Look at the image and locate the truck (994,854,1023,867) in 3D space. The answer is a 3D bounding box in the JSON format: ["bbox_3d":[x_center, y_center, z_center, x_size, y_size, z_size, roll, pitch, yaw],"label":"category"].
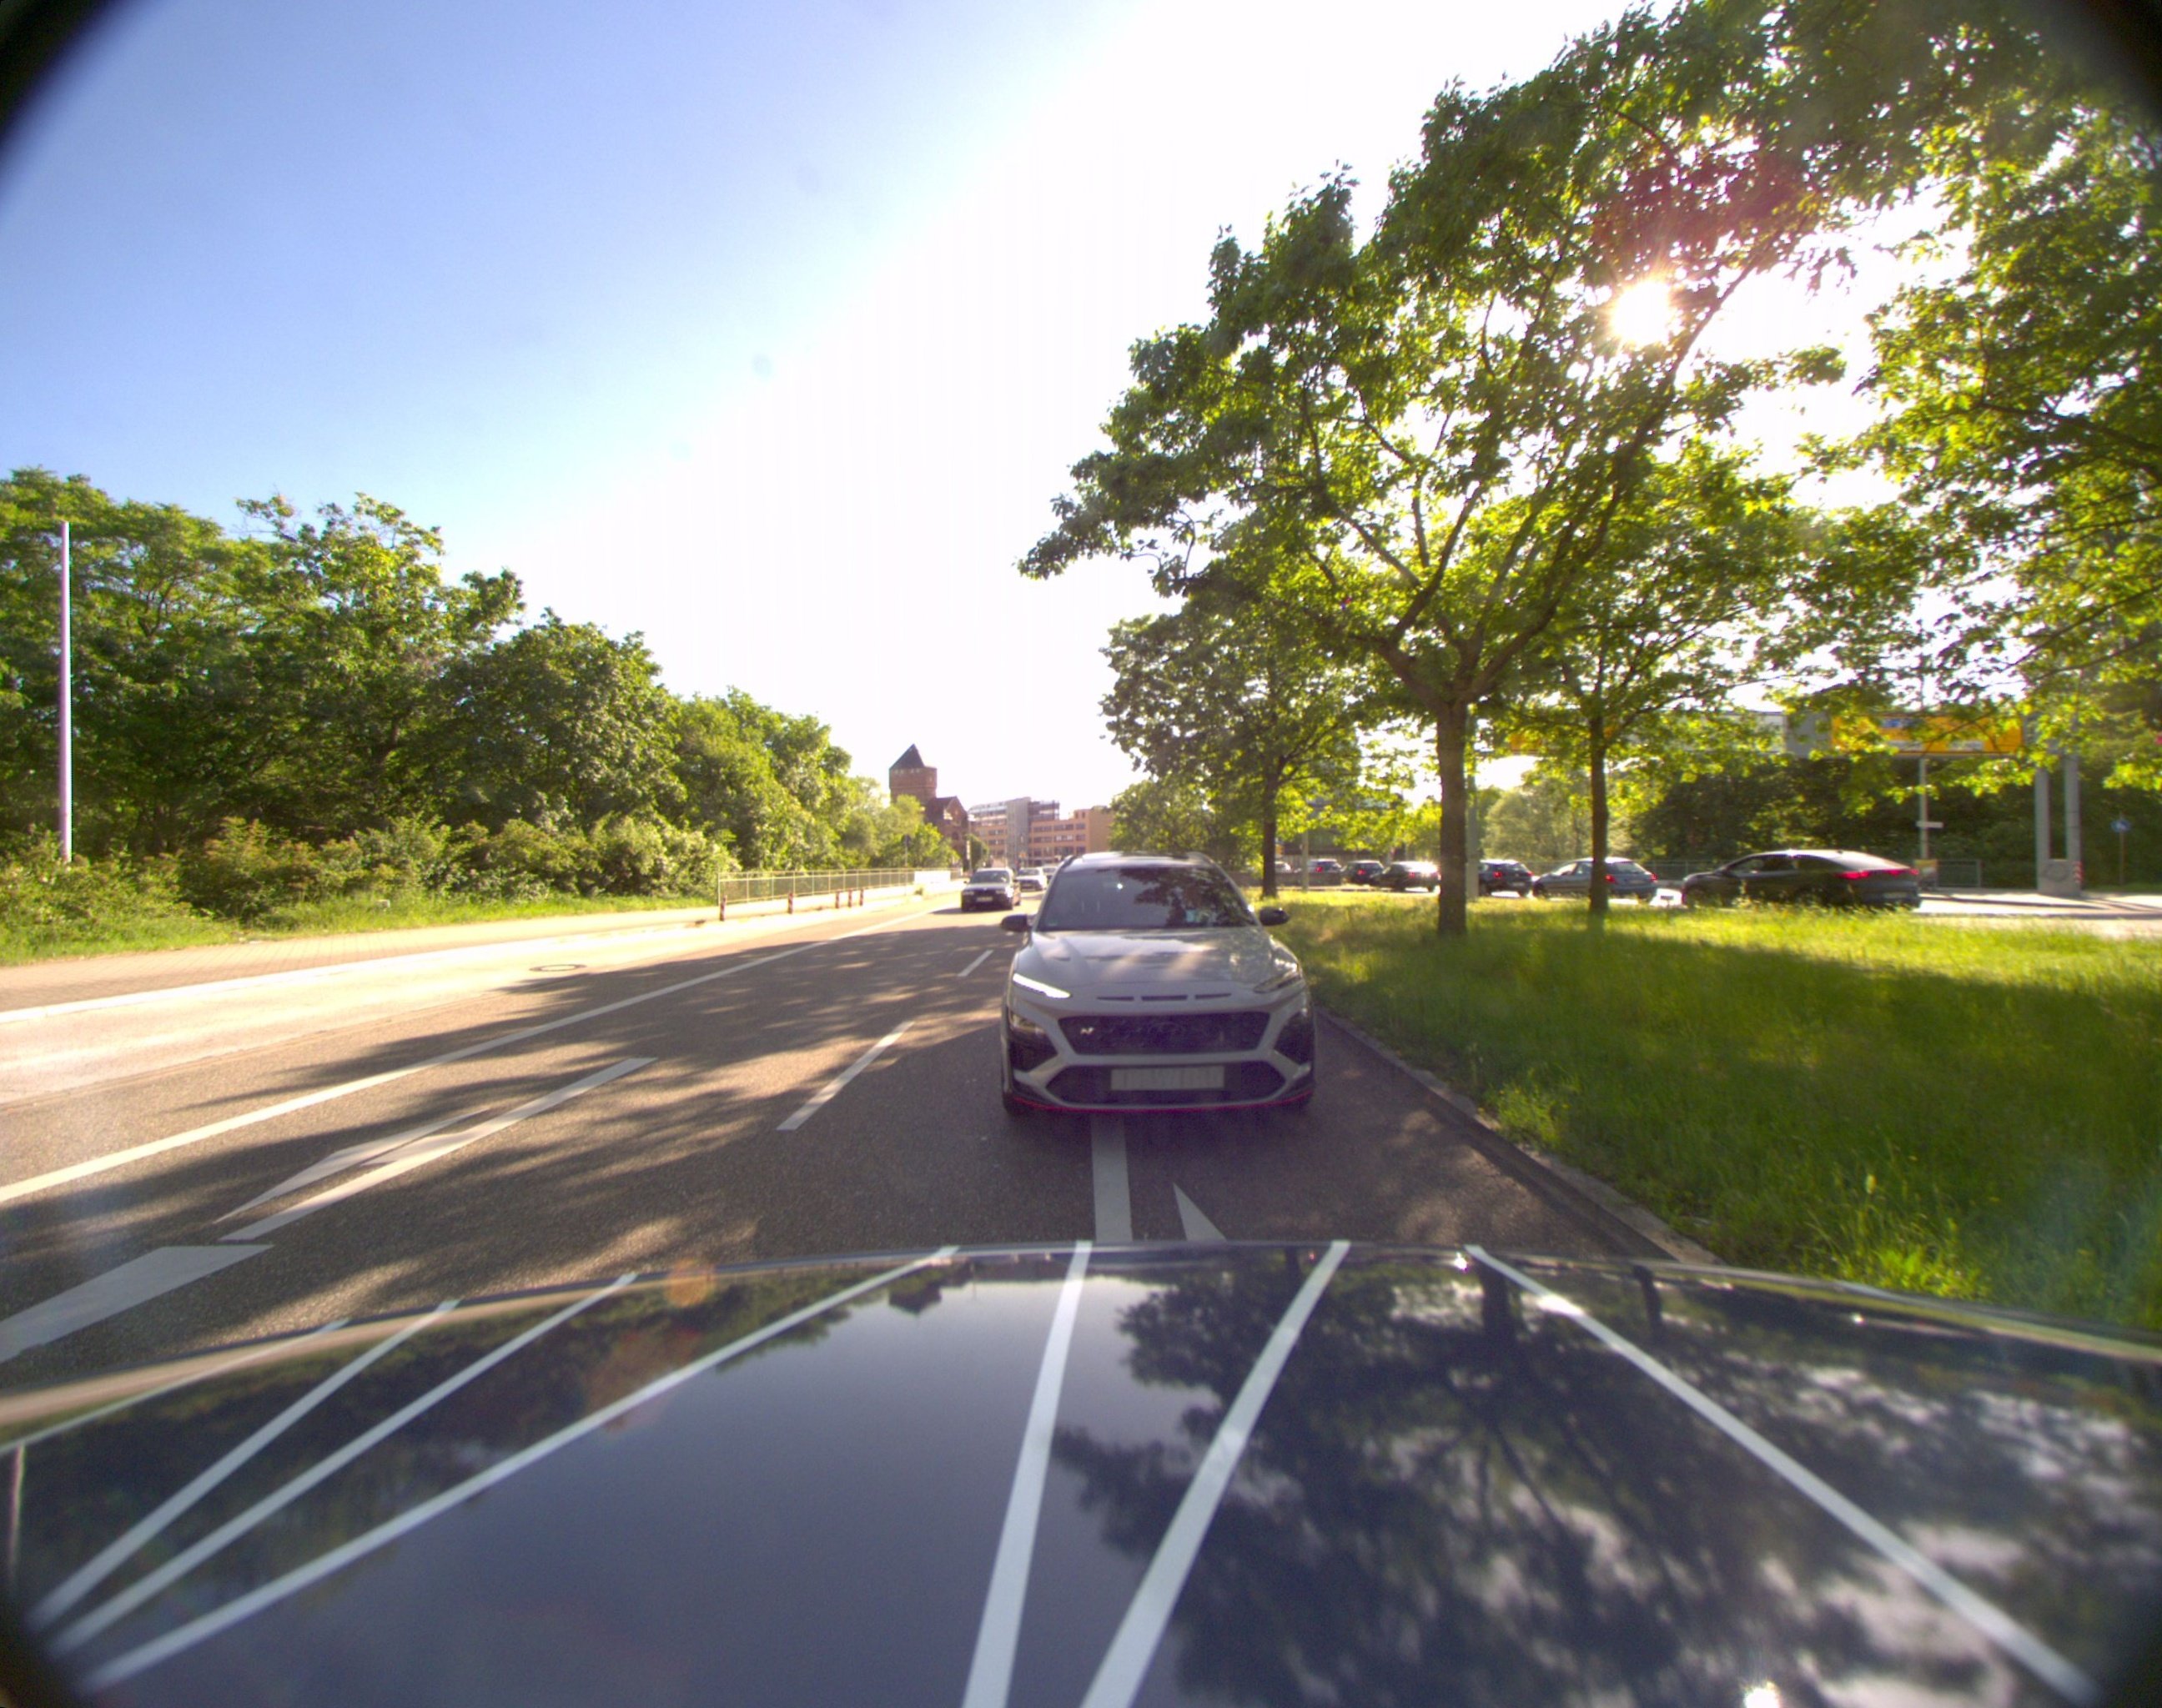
[{"bbox_3d":[-19.286,1.803,201.017,3.535,3.231,9.141,-1,0,-36],"label":"truck"}]

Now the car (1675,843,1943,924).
[{"bbox_3d":[16.782,0.611,17.909,1.832,1.638,4.458,-1,0,-5],"label":"car"}]

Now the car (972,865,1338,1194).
[{"bbox_3d":[0.385,0.886,5.681,1.752,1.523,3.988,-1,0,1],"label":"car"}]

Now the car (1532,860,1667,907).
[{"bbox_3d":[16.387,0.886,24.237,1.561,1.355,3.608,-1,-1,-6],"label":"car"}]

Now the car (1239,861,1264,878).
[{"bbox_3d":[13.964,1.283,62.323,1.199,1.252,2.768,-1,-2,-6],"label":"car"}]

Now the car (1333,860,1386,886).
[{"bbox_3d":[15.148,1.036,41.472,1.481,1.331,3.202,-1,-1,-6],"label":"car"}]

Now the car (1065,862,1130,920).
[{"bbox_3d":[0.467,1.000,22.089,1.677,1.463,4.151,-1,0,1],"label":"car"}]

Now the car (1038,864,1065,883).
[{"bbox_3d":[-2.201,1.440,56.936,1.785,1.411,4.001,-1,-1,1],"label":"car"}]

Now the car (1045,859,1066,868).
[{"bbox_3d":[-6.145,2.219,181.350,2.177,2.001,5.400,-1,0,-36],"label":"car"}]

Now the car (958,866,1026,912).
[{"bbox_3d":[-3.023,1.174,26.658,1.776,1.395,4.318,-1,0,1],"label":"car"}]

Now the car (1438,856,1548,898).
[{"bbox_3d":[16.184,0.850,30.143,1.875,1.541,4.221,-1,0,-4],"label":"car"}]

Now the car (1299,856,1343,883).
[{"bbox_3d":[14.966,0.996,47.547,1.450,1.549,3.202,-1,-2,-6],"label":"car"}]

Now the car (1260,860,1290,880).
[{"bbox_3d":[14.315,1.211,56.146,1.228,1.331,2.882,-1,-3,-6],"label":"car"}]

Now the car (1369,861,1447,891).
[{"bbox_3d":[15.472,1.001,36.216,1.623,1.305,4.066,-1,0,-6],"label":"car"}]

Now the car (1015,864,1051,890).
[{"bbox_3d":[-2.791,1.301,44.565,1.785,1.411,4.001,-1,-1,1],"label":"car"}]
